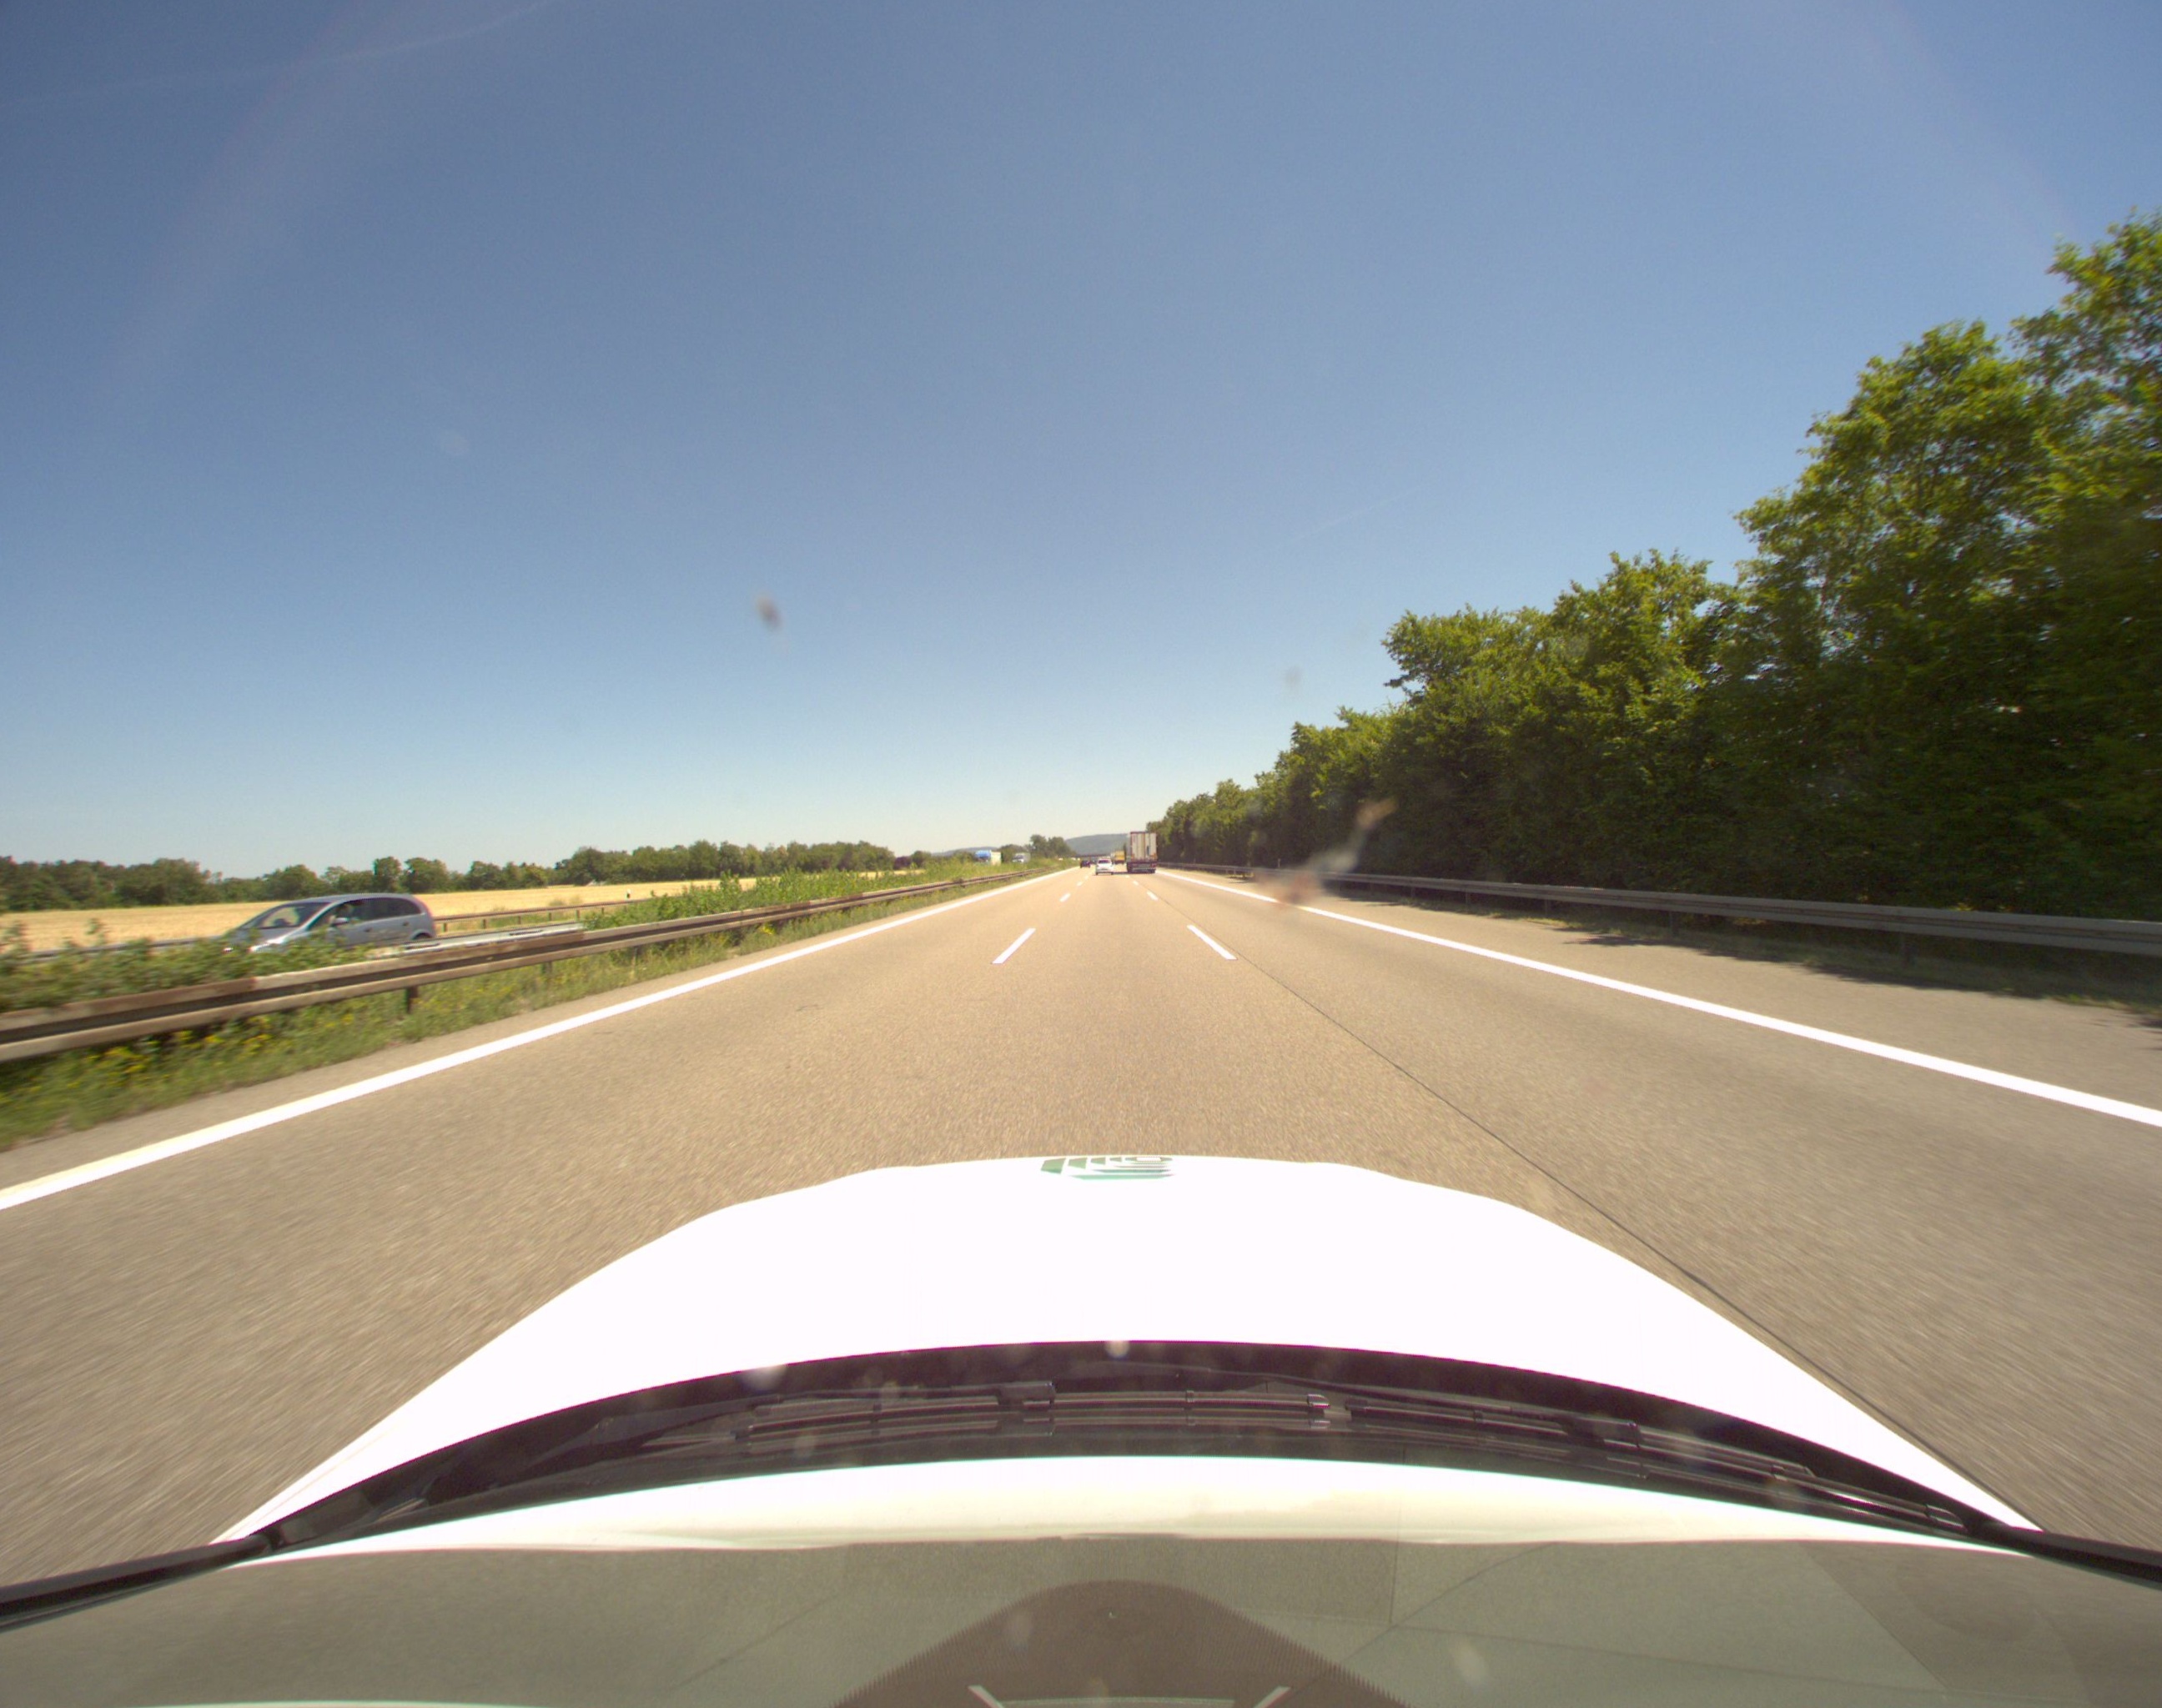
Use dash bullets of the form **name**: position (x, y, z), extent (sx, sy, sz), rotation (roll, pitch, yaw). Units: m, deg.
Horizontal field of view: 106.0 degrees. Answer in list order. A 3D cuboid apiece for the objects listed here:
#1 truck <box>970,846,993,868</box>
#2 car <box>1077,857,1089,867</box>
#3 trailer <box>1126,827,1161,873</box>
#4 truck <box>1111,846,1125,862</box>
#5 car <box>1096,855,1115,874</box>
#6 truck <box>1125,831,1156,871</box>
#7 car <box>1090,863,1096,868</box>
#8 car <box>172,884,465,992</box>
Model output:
- **truck**: position (-16.816, 0.551, 138.505), extent (3.098, 3.699, 5.200), rotation (-1, 0, 2)
- **car**: position (0.416, 1.349, 144.197), extent (1.987, 1.712, 4.000), rotation (-1, 0, 1)
- **trailer**: position (6.328, -0.350, 84.418), extent (3.205, 4.345, 13.636), rotation (-1, 0, 2)
- **truck**: position (10.407, 0.047, 230.507), extent (3.857, 4.345, 13.864), rotation (-1, 0, 2)
- **car**: position (2.295, 1.019, 78.089), extent (1.726, 1.684, 4.000), rotation (-2, 0, 1)
- **truck**: position (6.630, -0.317, 91.536), extent (3.205, 4.345, 6.594), rotation (-1, 0, 2)
- **car**: position (3.485, 3.395, 237.213), extent (1.789, 1.551, 4.001), rotation (-1, -1, 1)
- **car**: position (-15.703, 1.627, 17.192), extent (1.840, 1.778, 4.432), rotation (-3, 0, 2)
